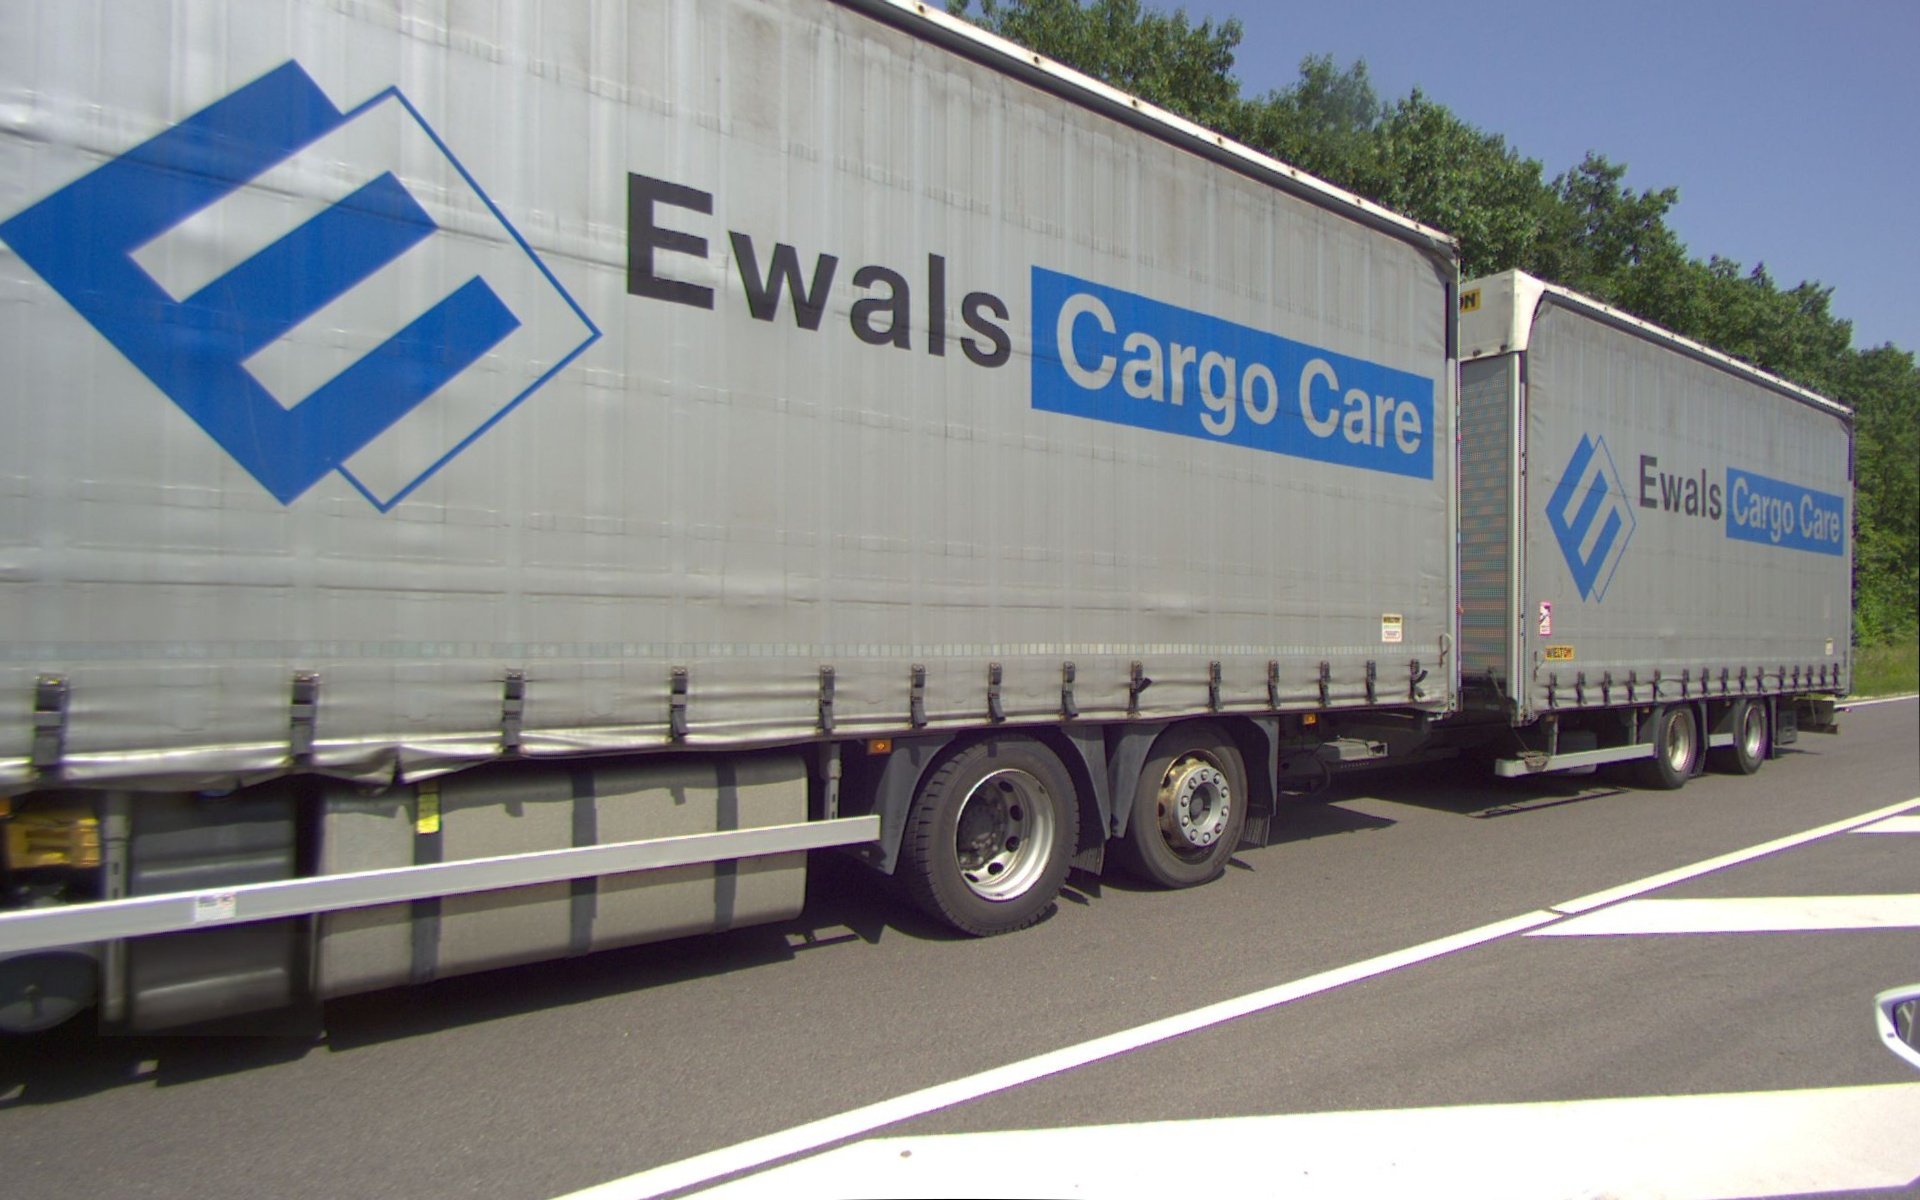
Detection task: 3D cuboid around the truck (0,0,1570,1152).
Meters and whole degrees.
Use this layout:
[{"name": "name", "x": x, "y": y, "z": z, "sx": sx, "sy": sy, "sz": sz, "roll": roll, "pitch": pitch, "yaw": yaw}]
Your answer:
[{"name": "truck", "x": -0.881, "y": -0.659, "z": 5.258, "sx": 10.953, "sy": 4.150, "sz": 2.779, "roll": 1, "pitch": 0, "yaw": -35}]

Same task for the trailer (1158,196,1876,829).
[{"name": "trailer", "x": 6.233, "y": -0.506, "z": 10.341, "sx": 8.911, "sy": 4.150, "sz": 2.809, "roll": 1, "pitch": 1, "yaw": -35}]
